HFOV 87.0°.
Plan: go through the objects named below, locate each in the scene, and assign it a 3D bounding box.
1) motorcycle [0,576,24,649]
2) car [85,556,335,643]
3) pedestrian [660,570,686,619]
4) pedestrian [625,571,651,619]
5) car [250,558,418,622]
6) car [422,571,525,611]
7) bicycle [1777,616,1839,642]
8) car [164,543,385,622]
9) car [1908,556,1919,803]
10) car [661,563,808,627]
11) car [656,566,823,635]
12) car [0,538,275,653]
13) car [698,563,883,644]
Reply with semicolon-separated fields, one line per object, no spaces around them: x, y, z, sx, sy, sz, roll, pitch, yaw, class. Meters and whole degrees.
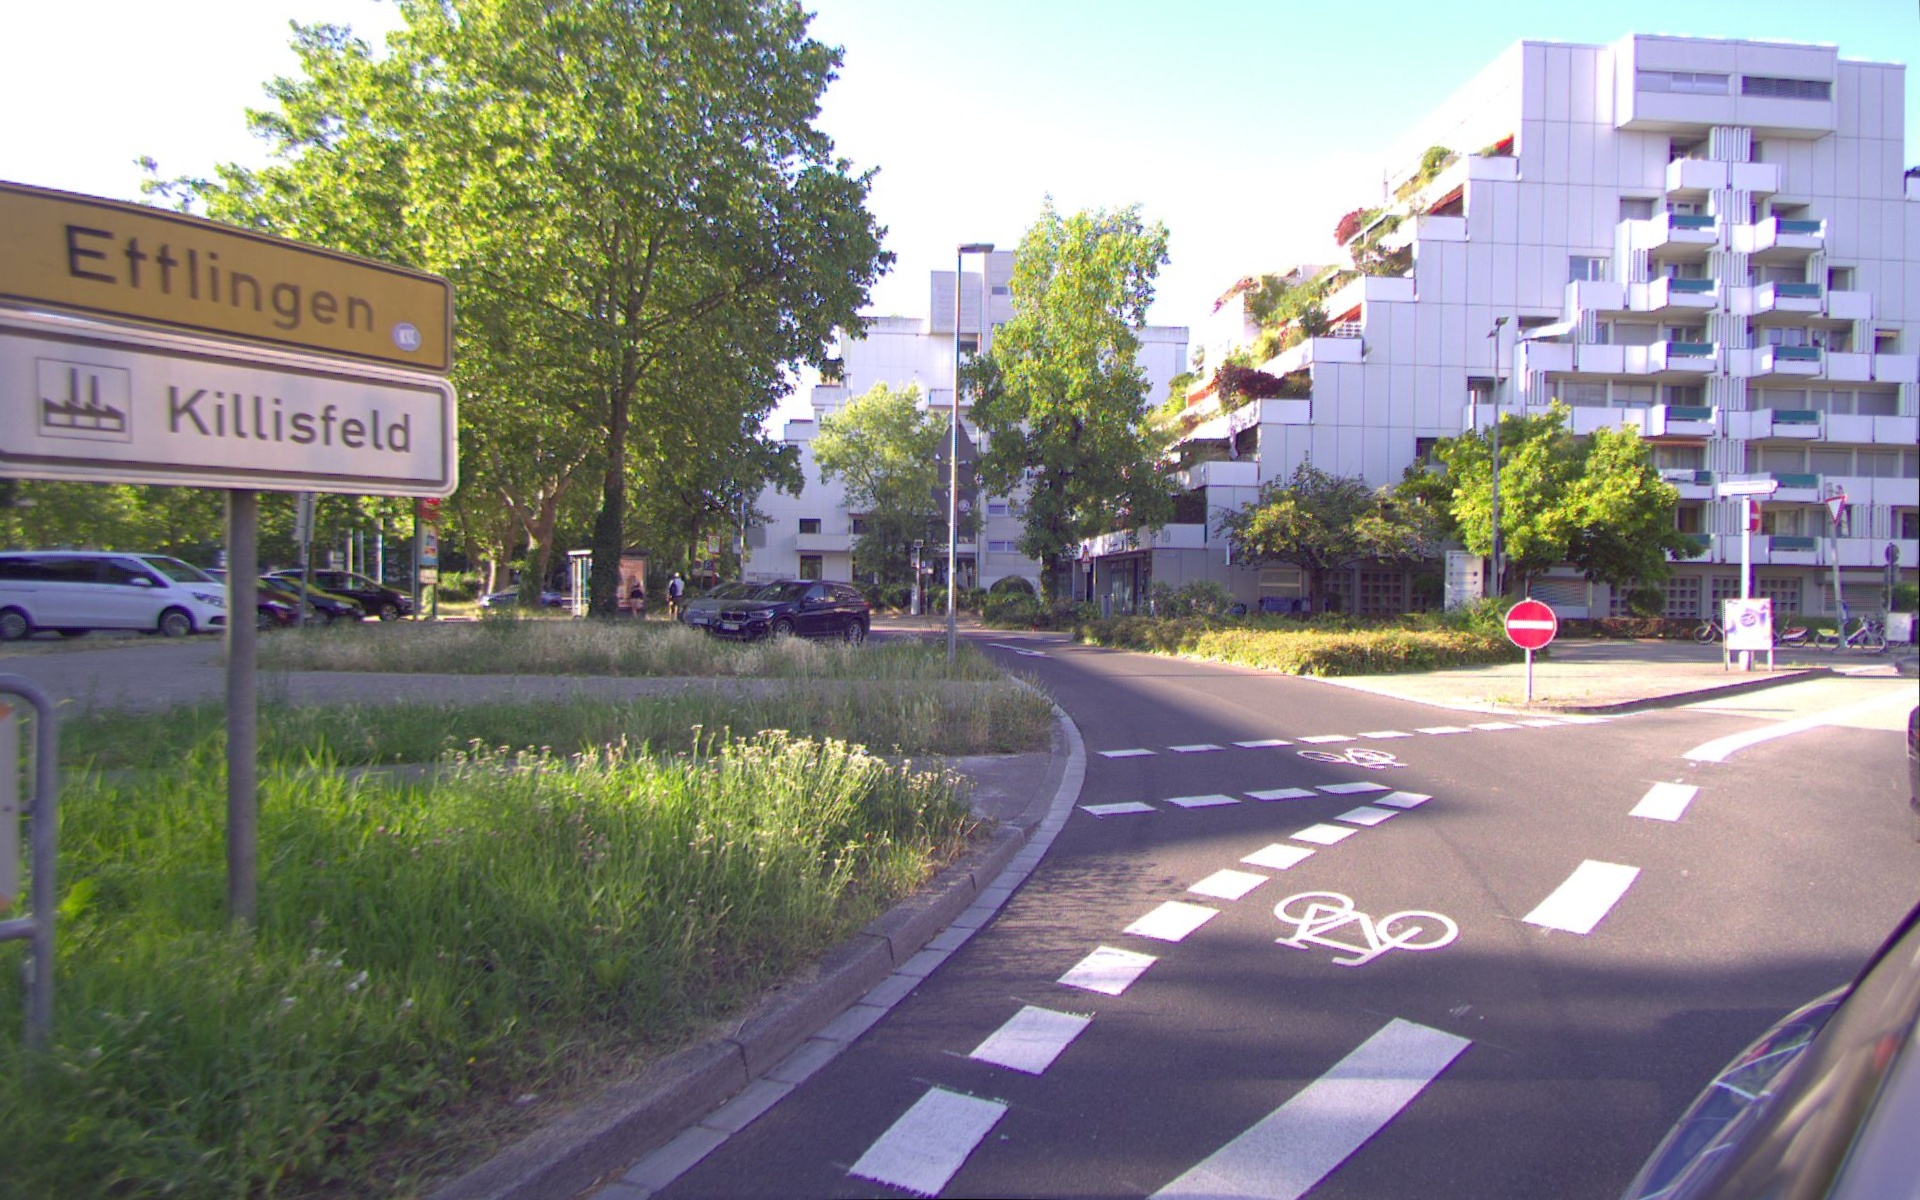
-17.867;0.206;17.533;2.268;1.264;0.954;1;1;-11;motorcycle
-18.576;-0.016;25.274;4.539;1.797;2.004;4;0;-7;car
-10.057;-0.193;35.507;0.712;1.683;0.745;1;1;-1;pedestrian
-11.396;-0.177;35.802;0.619;1.683;0.743;0;1;-39;pedestrian
-20.841;-0.324;33.949;4.538;1.797;2.005;4;0;-28;car
-23.361;-0.469;48.655;4.043;1.821;1.995;-2;1;-43;car
28.482;0.957;34.019;1.571;0.794;0.457;2;1;44;bicycle
-18.748;-0.464;27.891;4.539;1.797;2.004;4;0;-7;car
7.018;0.538;6.084;1.839;1.565;4.454;-1;-1;43;car
-6.625;-0.121;30.030;1.863;1.659;3.945;3;0;37;car
-5.735;0.064;26.853;1.814;1.607;4.320;4;0;31;car
-18.242;-0.112;22.139;4.949;2.123;2.004;4;0;-7;car
-3.954;0.121;24.377;1.923;1.680;4.427;4;0;31;car
